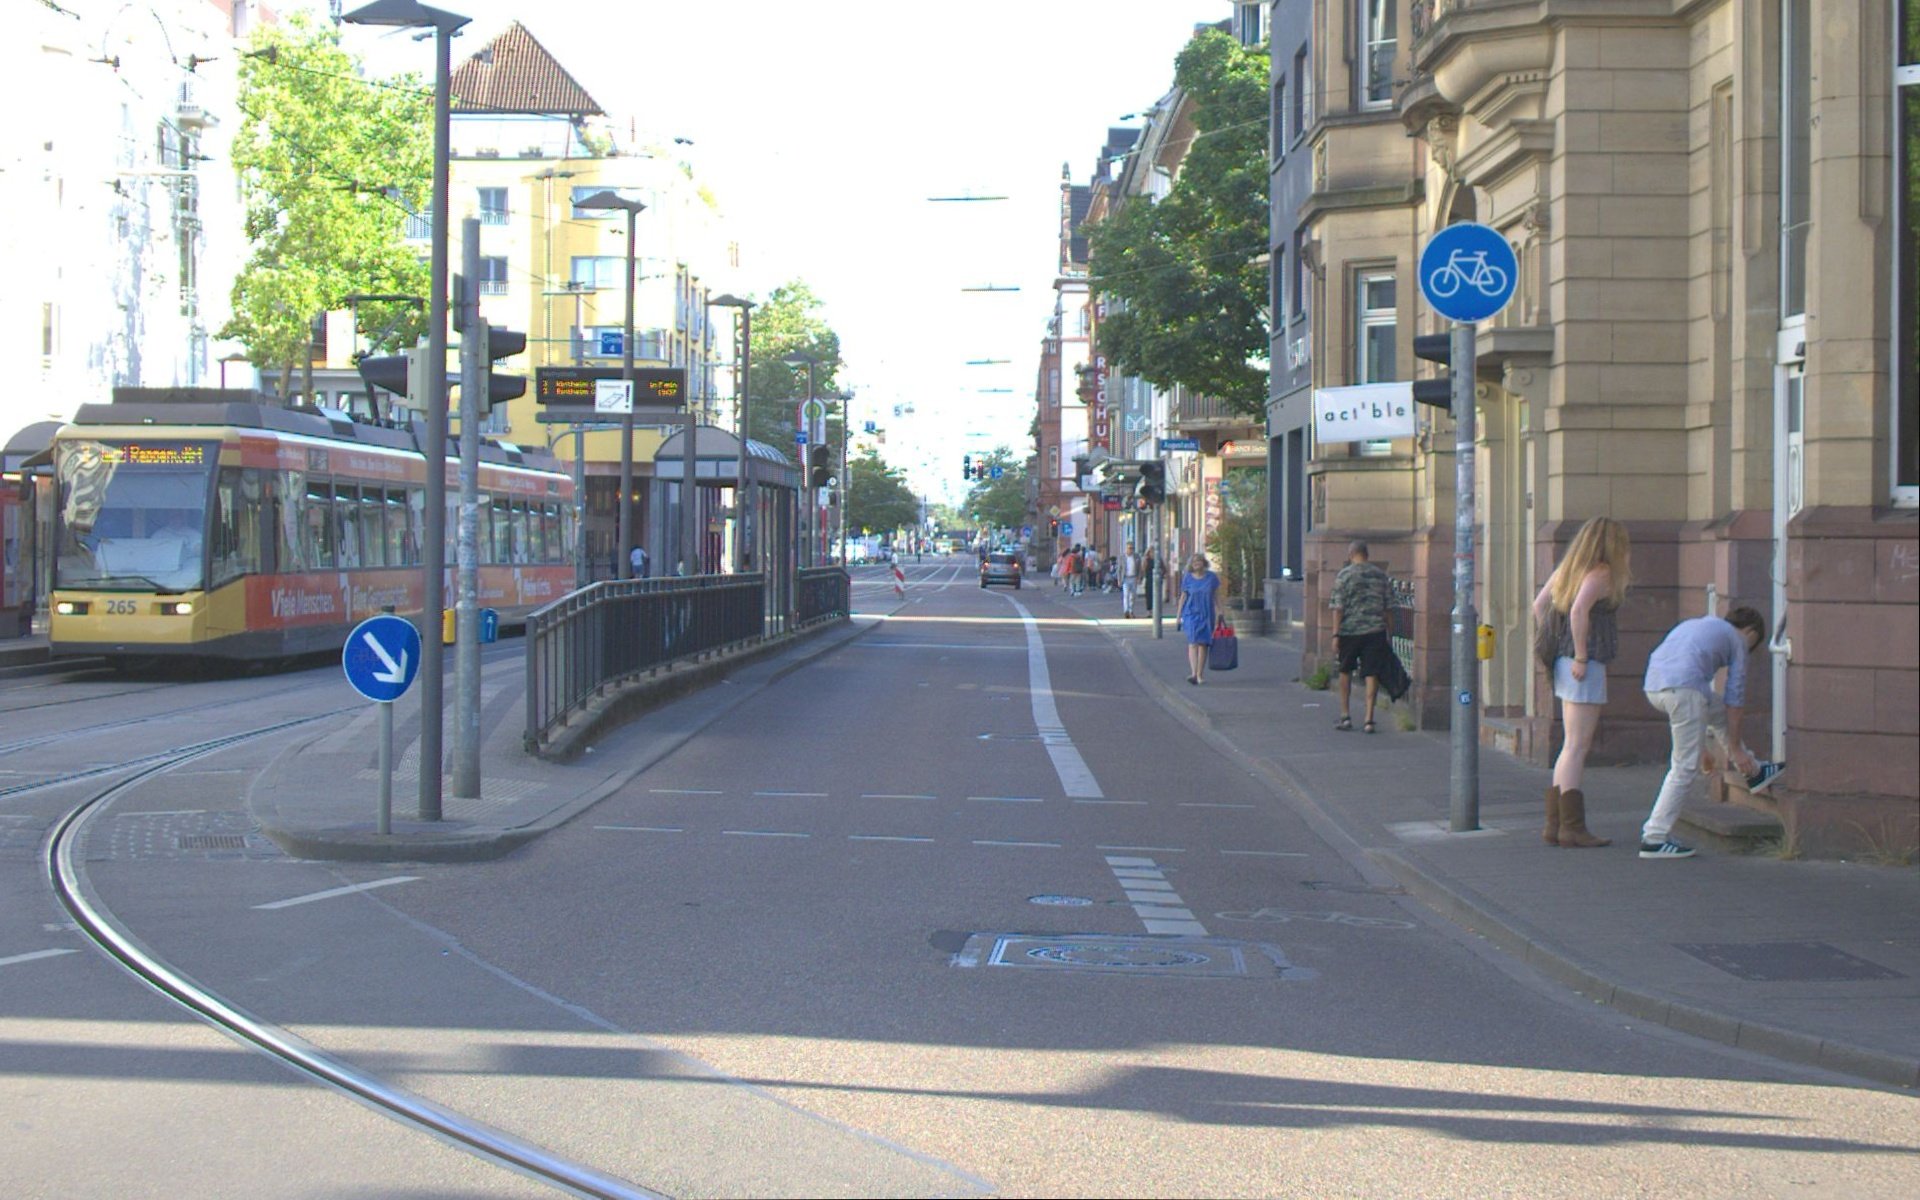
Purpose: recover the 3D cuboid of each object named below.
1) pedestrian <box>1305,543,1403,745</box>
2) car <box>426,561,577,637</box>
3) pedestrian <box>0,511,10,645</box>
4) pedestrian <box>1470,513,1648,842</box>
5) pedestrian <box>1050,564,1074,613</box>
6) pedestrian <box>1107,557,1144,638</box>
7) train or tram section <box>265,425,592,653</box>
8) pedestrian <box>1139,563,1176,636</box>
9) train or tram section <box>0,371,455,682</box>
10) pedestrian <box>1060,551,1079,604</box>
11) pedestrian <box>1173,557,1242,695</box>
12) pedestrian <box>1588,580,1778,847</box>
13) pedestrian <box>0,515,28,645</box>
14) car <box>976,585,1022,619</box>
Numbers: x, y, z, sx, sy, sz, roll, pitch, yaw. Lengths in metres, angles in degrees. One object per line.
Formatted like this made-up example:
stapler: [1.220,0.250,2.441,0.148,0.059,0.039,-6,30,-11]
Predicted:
pedestrian: [3.609,0.397,31.536,0.801,1.818,0.797,0,0,0]
car: [-16.735,-0.029,125.559,5.106,2.567,2.128,2,0,2]
pedestrian: [-12.437,-0.281,43.439,0.695,1.685,0.672,2,-1,-23]
pedestrian: [3.178,0.411,18.289,0.794,1.715,0.719,0,-2,-1]
pedestrian: [4.024,-0.446,135.531,0.843,1.911,0.661,1,0,-1]
pedestrian: [3.680,-0.066,76.531,0.713,1.768,0.773,-1,1,-2]
train or tram section: [-9.019,-0.925,60.658,2.885,3.478,14.949,1,0,2]
pedestrian: [4.408,-0.022,76.848,0.713,1.597,0.773,-1,1,-2]
train or tram section: [-9.383,-0.809,46.091,2.885,3.478,14.167,1,0,1]
pedestrian: [3.723,-0.754,116.600,0.560,1.790,0.650,1,0,7]
pedestrian: [2.976,0.309,41.344,0.762,1.640,0.832,0,0,0]
pedestrian: [3.676,0.574,17.520,0.794,1.327,0.719,0,-2,-1]
pedestrian: [-12.674,-0.267,45.186,0.695,1.685,0.672,2,-1,-23]
car: [1.755,0.107,155.688,1.993,1.444,4.000,2,0,0]
